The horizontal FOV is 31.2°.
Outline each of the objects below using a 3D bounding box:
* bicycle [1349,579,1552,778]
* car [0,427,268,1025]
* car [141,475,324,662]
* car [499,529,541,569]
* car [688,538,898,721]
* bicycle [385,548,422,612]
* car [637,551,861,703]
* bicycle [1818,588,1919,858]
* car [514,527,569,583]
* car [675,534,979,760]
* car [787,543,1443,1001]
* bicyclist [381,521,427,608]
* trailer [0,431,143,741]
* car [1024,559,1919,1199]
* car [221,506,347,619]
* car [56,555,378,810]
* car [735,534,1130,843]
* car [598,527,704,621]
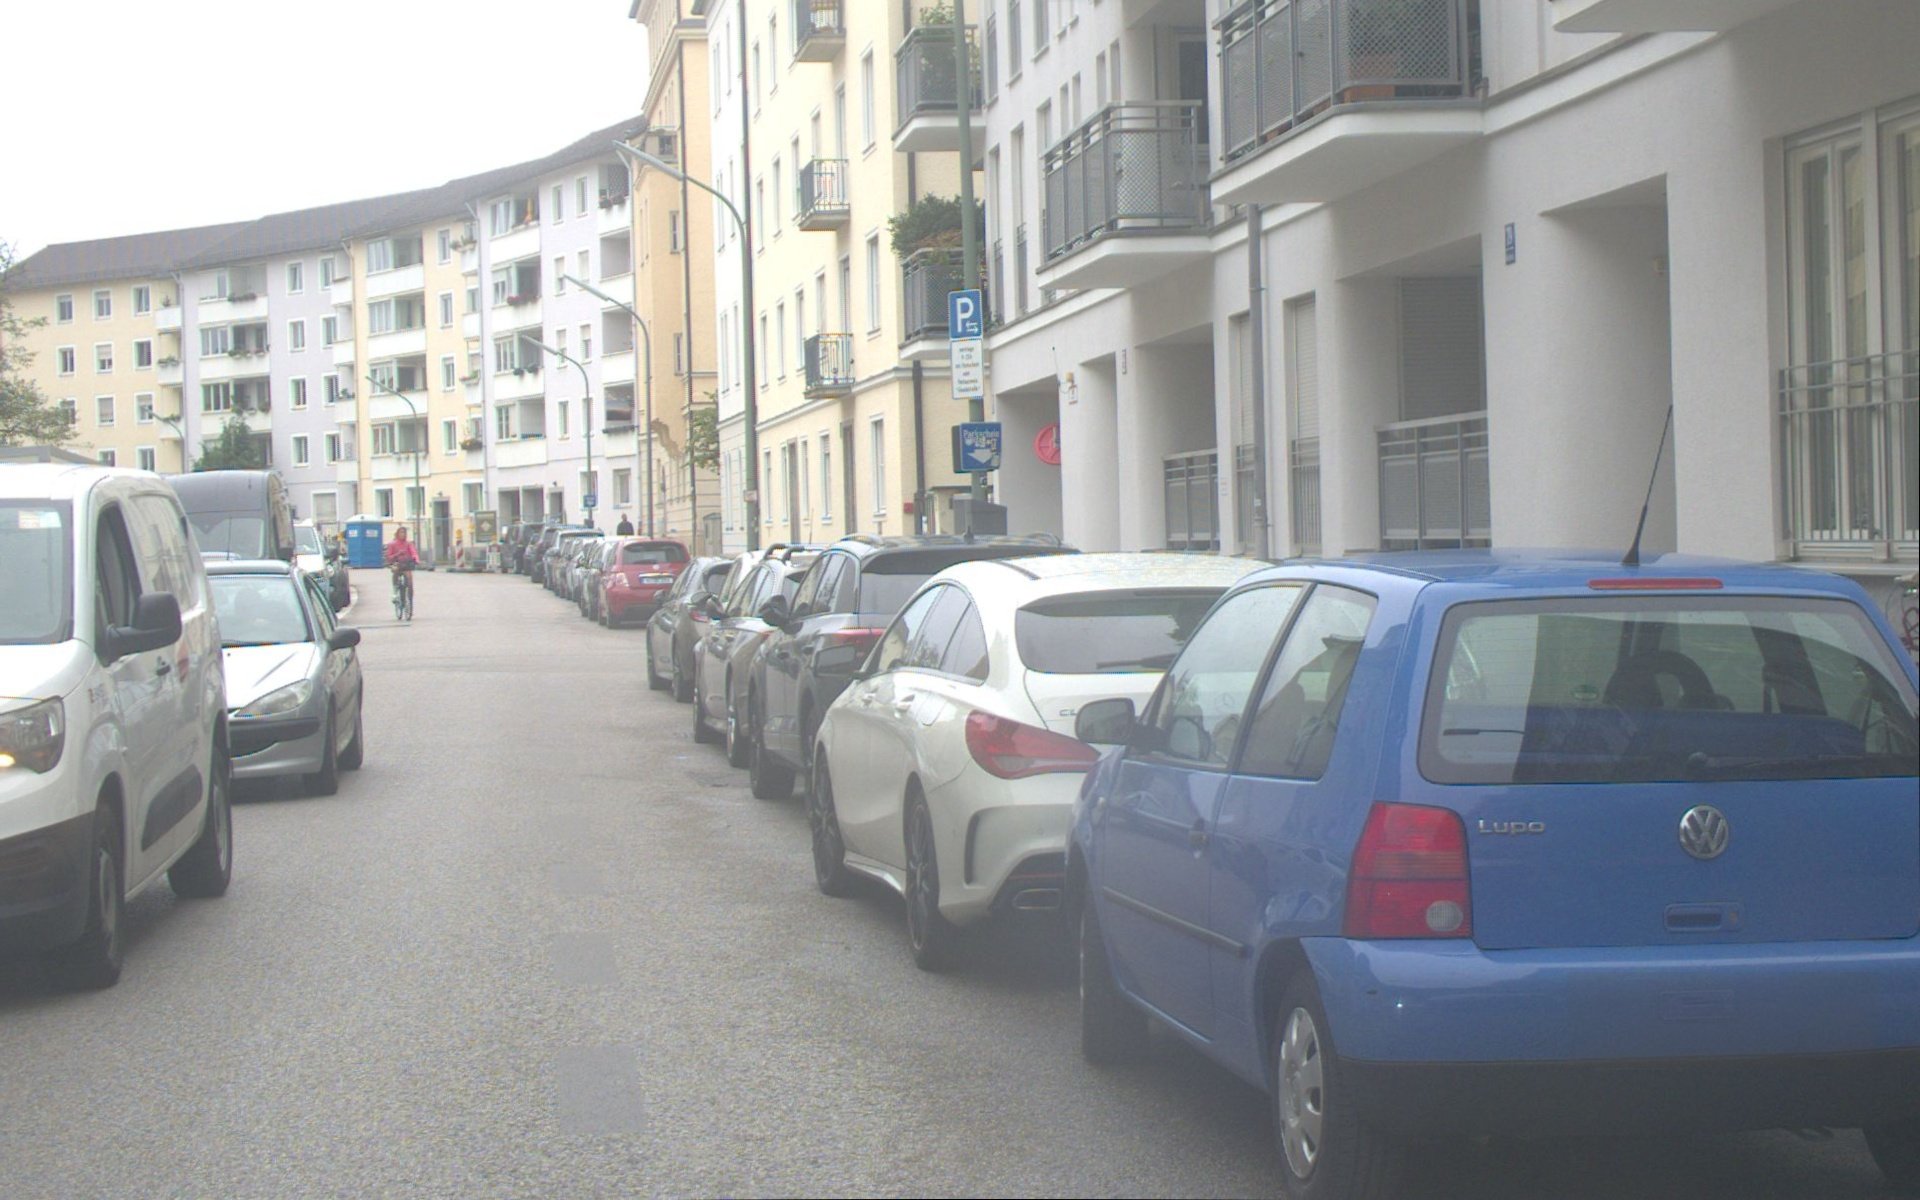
[{"bbox_3d":[3.097,0.466,21.913,0.627,1.156,2.128,-2,1,-10],"label":"bicycle"},{"bbox_3d":[-3.759,0.391,12.610,1.771,1.797,4.573,-3,1,-5],"label":"car"},{"bbox_3d":[-10.873,-0.535,51.745,2.087,2.627,5.378,-2,2,-6],"label":"car"},{"bbox_3d":[-14.593,-1.694,113.906,1.272,1.294,2.798,-1,1,-9],"label":"car"},{"bbox_3d":[-1.532,0.213,30.482,1.519,1.525,3.527,0,1,-8],"label":"car"},{"bbox_3d":[-10.316,-0.382,63.787,0.504,1.124,1.773,-3,2,-5],"label":"bicycle"},{"bbox_3d":[-2.186,0.232,34.608,1.763,1.403,4.080,-1,1,-10],"label":"car"},{"bbox_3d":[3.971,0.458,13.109,0.677,1.024,1.835,-2,0,-8],"label":"bicycle"},{"bbox_3d":[-12.519,-1.364,102.822,1.473,1.635,4.002,0,2,-9],"label":"car"},{"bbox_3d":[-1.093,0.282,25.852,1.733,1.525,4.623,1,1,-9],"label":"car"},{"bbox_3d":[0.402,0.523,13.057,1.657,1.435,4.208,1,1,-9],"label":"car"},{"bbox_3d":[-10.303,-0.662,63.744,0.694,1.556,0.967,-3,1,-5],"label":"bicyclist"},{"bbox_3d":[-8.285,-0.133,29.654,1.709,2.453,4.387,-3,2,-6],"label":"trailer"},{"bbox_3d":[1.234,0.613,8.697,1.618,1.407,3.554,1,1,-7],"label":"car"},{"bbox_3d":[-12.558,-0.737,64.090,1.882,1.925,4.602,-3,2,-7],"label":"car"},{"bbox_3d":[-4.563,0.449,21.522,1.581,1.406,3.613,-2,1,-7],"label":"car"},{"bbox_3d":[-0.259,0.409,19.134,1.603,1.525,3.985,1,1,-9],"label":"car"},{"bbox_3d":[-5.278,-0.471,58.394,1.595,1.503,3.802,-2,1,-7],"label":"car"}]
